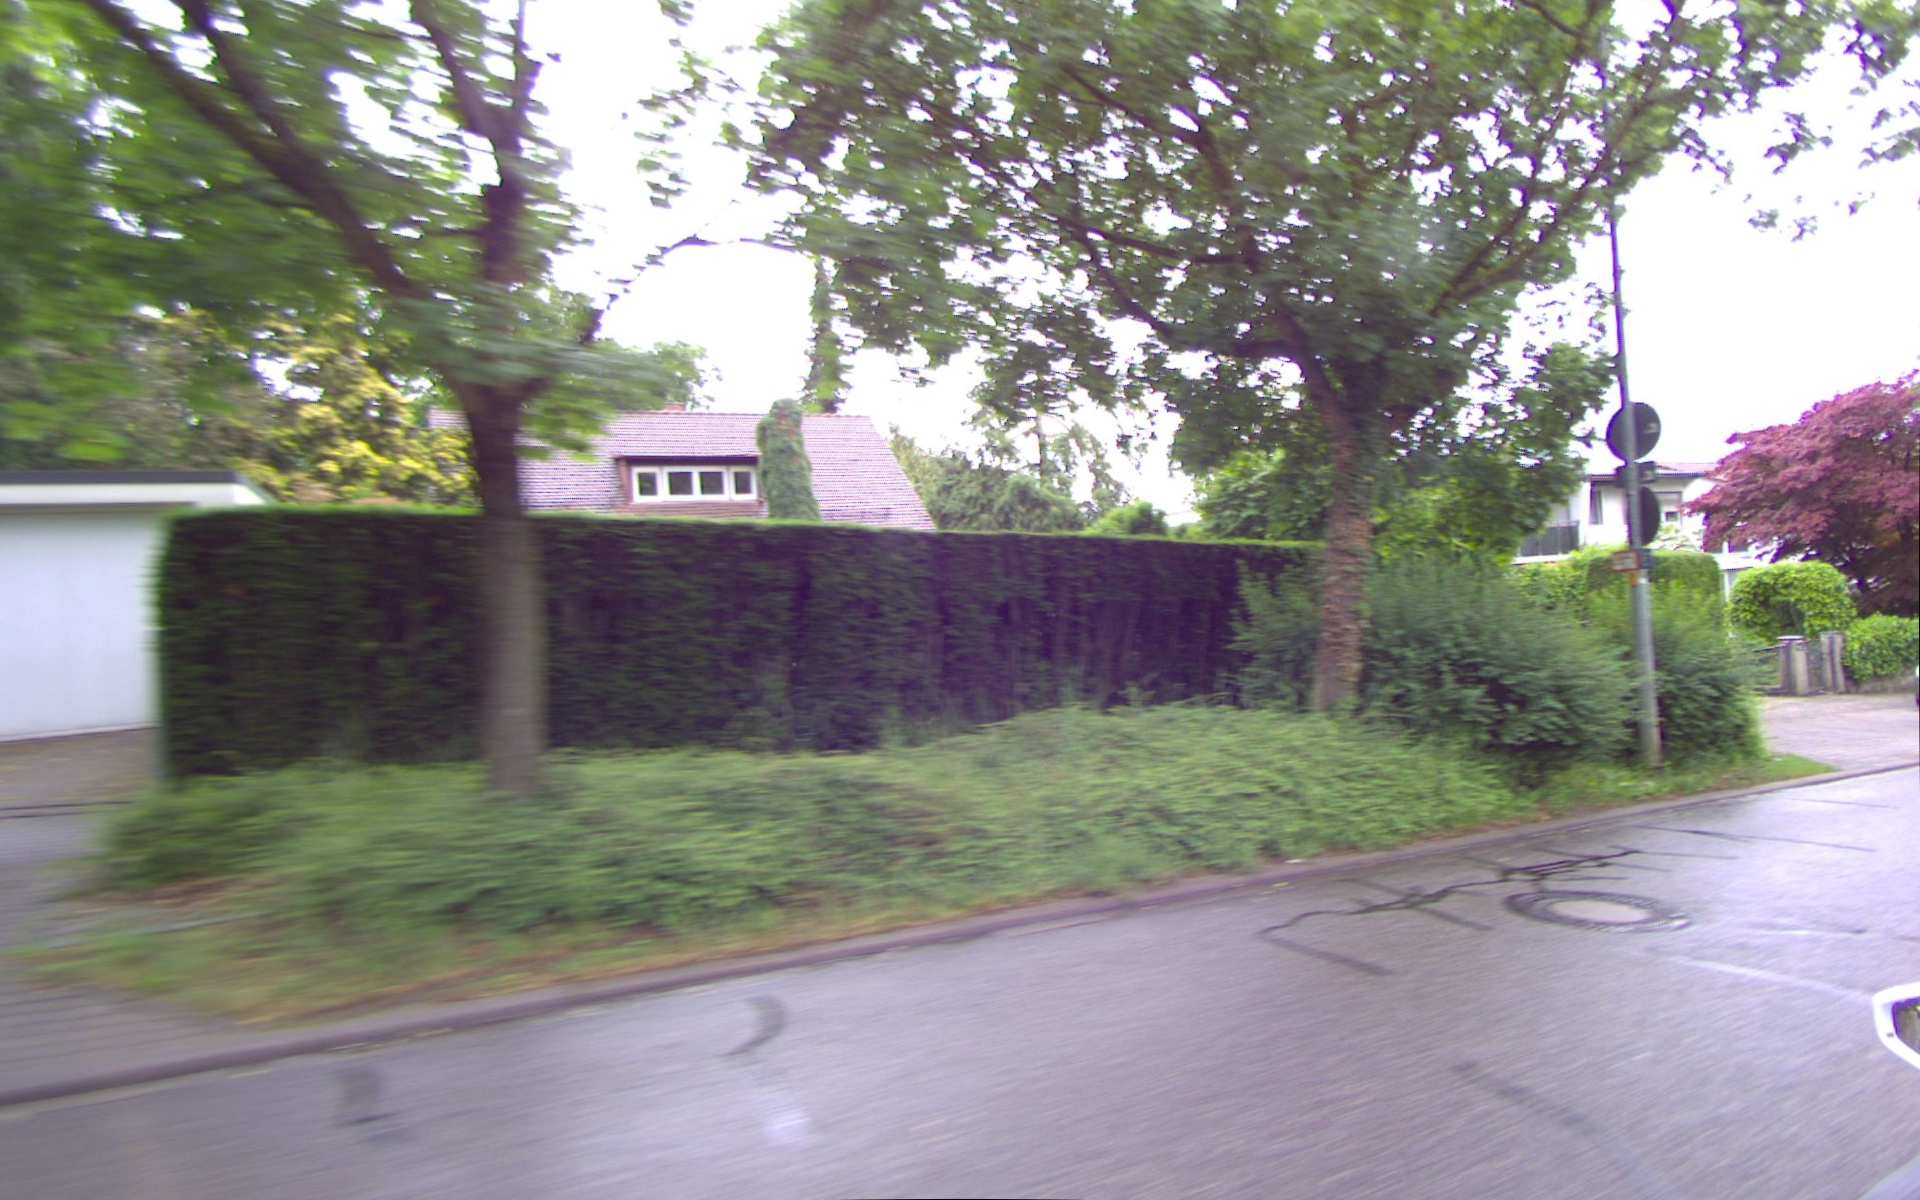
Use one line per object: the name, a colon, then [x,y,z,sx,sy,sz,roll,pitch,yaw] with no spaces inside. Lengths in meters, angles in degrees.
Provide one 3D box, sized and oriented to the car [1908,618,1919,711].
car: [18.450,1.100,17.470,4.232,1.563,1.656,0,1,-29]
